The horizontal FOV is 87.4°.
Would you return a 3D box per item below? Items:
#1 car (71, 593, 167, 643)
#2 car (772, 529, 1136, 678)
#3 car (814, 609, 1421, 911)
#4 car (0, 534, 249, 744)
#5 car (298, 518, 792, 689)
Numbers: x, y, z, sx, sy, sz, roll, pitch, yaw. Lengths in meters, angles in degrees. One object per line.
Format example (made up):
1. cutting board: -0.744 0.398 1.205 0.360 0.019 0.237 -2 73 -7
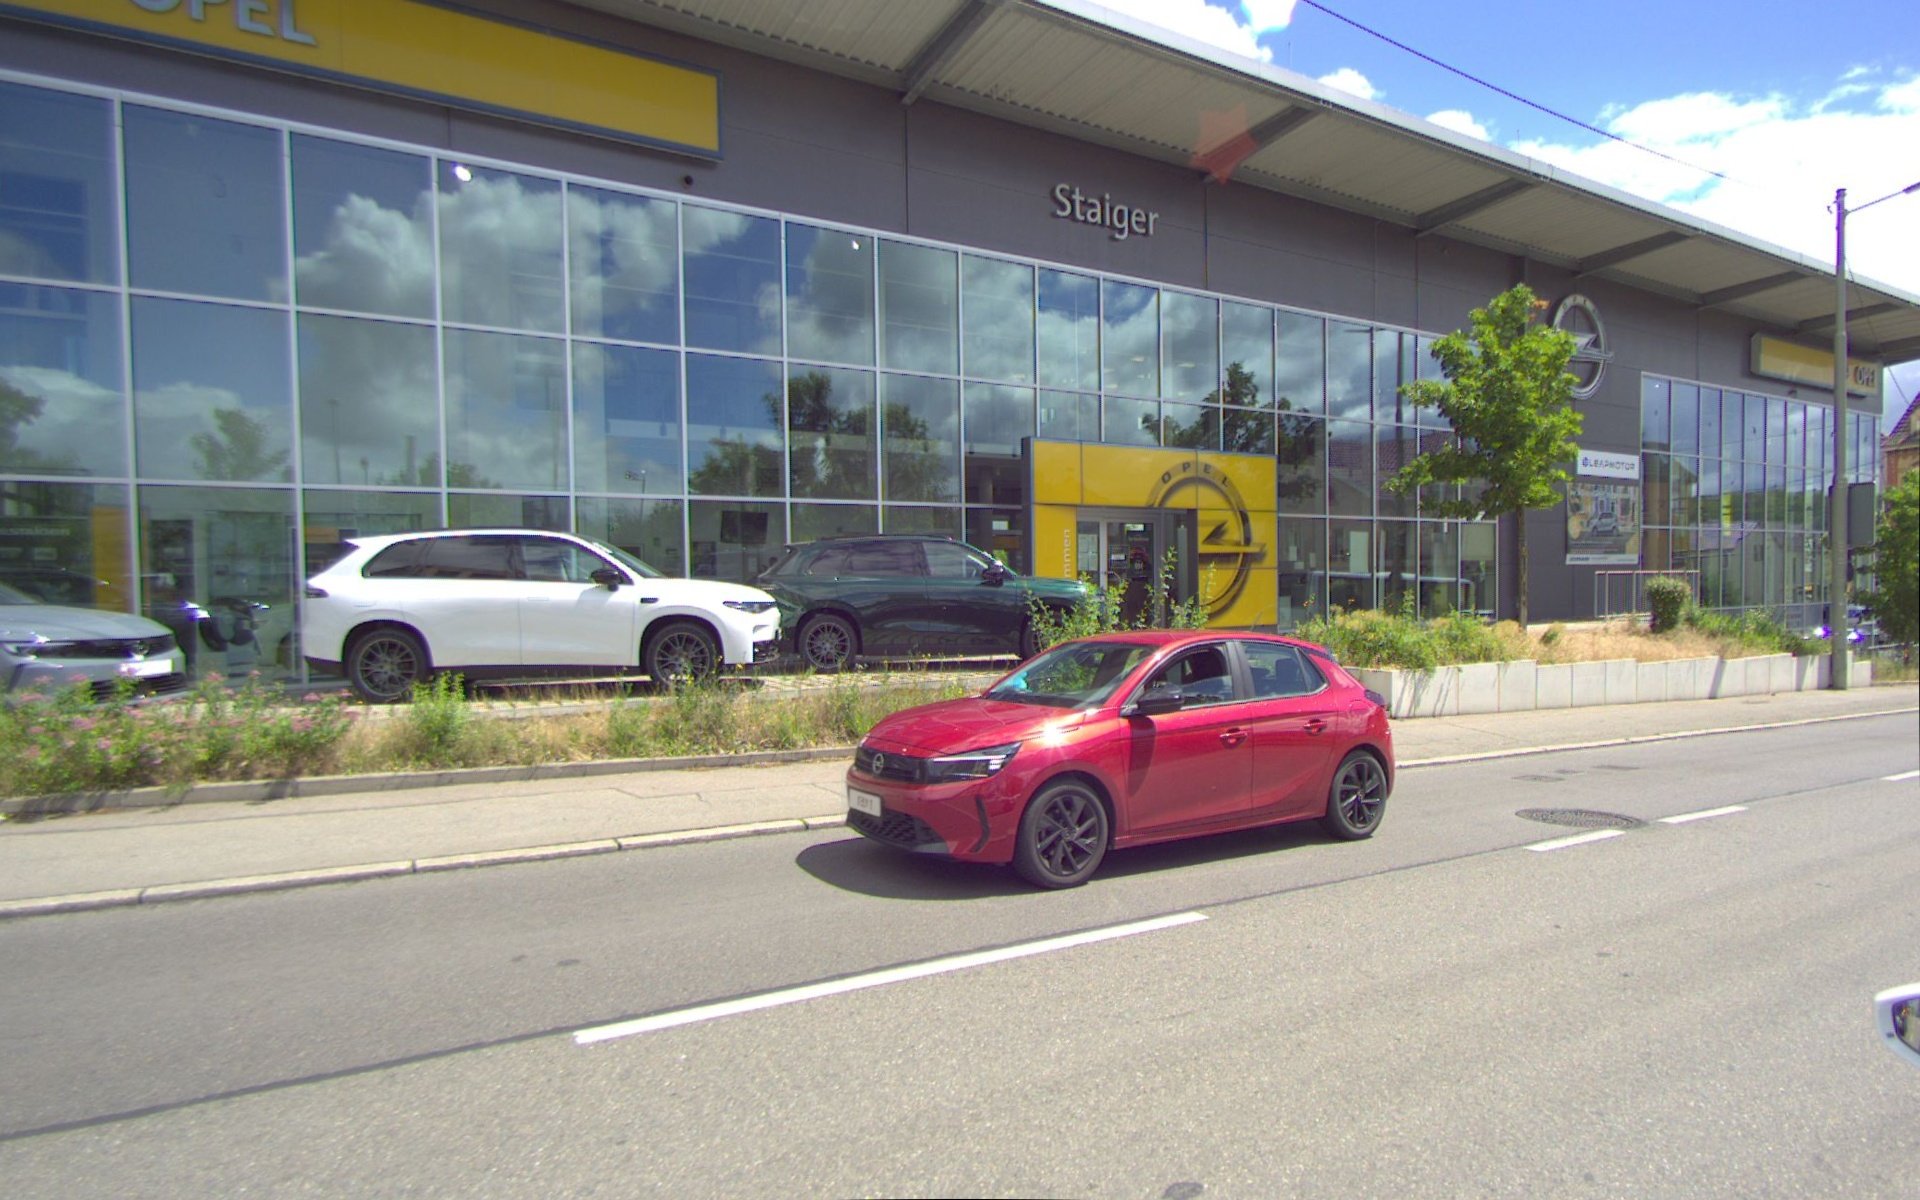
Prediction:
1. car: -23.927 0.480 28.535 3.429 1.301 1.653 0 2 43
2. car: -0.102 0.018 13.184 4.399 1.721 1.999 -1 1 -4
3. car: 1.134 0.859 6.860 3.805 1.511 1.862 1 -3 -32
4. car: -8.710 0.302 7.931 4.738 1.470 1.900 -1 1 -2
5. car: -4.113 0.059 10.685 4.468 1.594 1.935 1 0 -7
